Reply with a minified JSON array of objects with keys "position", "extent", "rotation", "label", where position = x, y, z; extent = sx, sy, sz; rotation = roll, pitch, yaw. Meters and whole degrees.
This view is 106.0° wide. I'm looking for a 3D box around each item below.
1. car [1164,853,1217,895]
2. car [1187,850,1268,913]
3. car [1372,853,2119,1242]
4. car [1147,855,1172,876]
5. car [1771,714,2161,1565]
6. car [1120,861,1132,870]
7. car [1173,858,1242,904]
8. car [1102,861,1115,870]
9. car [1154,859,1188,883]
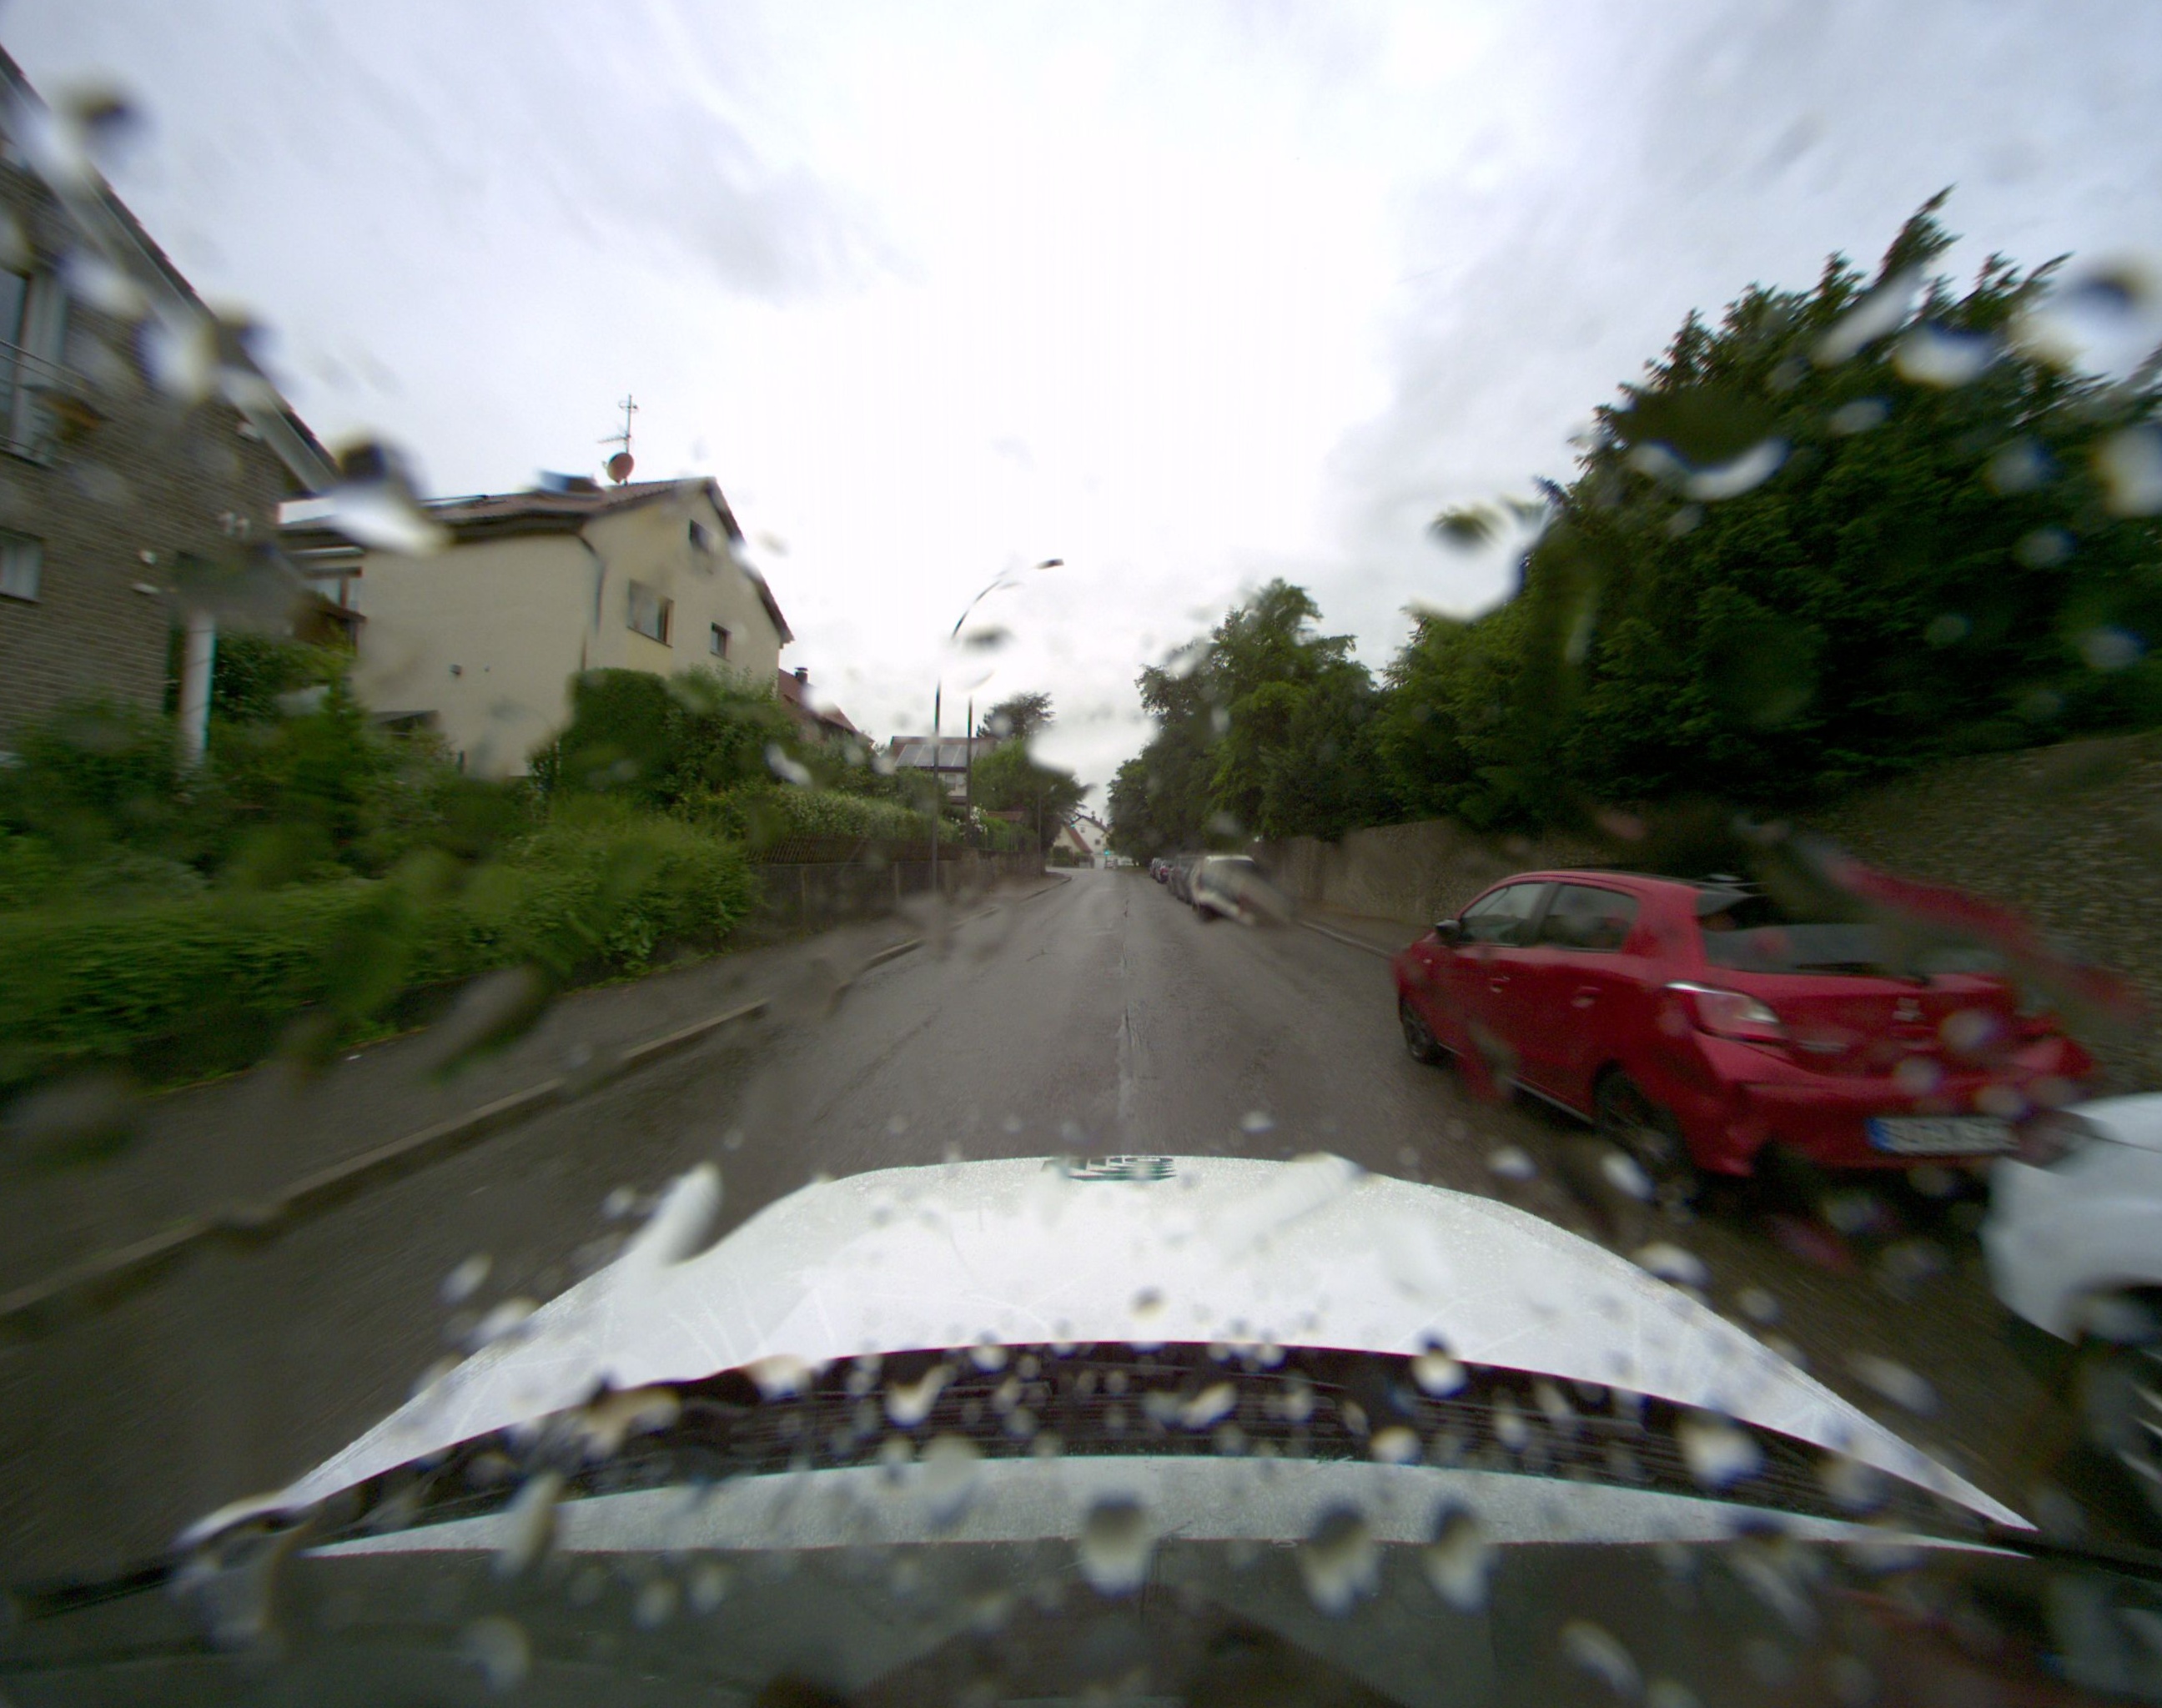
[{"position":[4.603,0.817,34.669],"extent":[1.736,1.668,4.498],"rotation":[0,-1,1],"label":"car"},{"position":[3.926,0.716,22.369],"extent":[1.806,1.573,3.884],"rotation":[0,-1,4],"label":"car"},{"position":[3.212,0.739,4.961],"extent":[1.578,1.455,3.664],"rotation":[-1,0,0],"label":"car"},{"position":[5.616,0.805,58.641],"extent":[1.641,1.497,4.249],"rotation":[0,0,3],"label":"car"},{"position":[2.972,0.604,0.573],"extent":[1.630,1.741,4.140],"rotation":[1,0,3],"label":"car"},{"position":[7.683,1.949,138.736],"extent":[1.897,1.442,4.007],"rotation":[0,0,6],"label":"car"},{"position":[4.321,0.904,28.457],"extent":[1.758,1.447,4.696],"rotation":[0,-1,1],"label":"car"},{"position":[4.642,1.927,139.311],"extent":[1.897,1.442,4.007],"rotation":[0,0,6],"label":"car"},{"position":[5.330,0.973,48.432],"extent":[1.646,1.371,4.182],"rotation":[0,0,1],"label":"car"}]
